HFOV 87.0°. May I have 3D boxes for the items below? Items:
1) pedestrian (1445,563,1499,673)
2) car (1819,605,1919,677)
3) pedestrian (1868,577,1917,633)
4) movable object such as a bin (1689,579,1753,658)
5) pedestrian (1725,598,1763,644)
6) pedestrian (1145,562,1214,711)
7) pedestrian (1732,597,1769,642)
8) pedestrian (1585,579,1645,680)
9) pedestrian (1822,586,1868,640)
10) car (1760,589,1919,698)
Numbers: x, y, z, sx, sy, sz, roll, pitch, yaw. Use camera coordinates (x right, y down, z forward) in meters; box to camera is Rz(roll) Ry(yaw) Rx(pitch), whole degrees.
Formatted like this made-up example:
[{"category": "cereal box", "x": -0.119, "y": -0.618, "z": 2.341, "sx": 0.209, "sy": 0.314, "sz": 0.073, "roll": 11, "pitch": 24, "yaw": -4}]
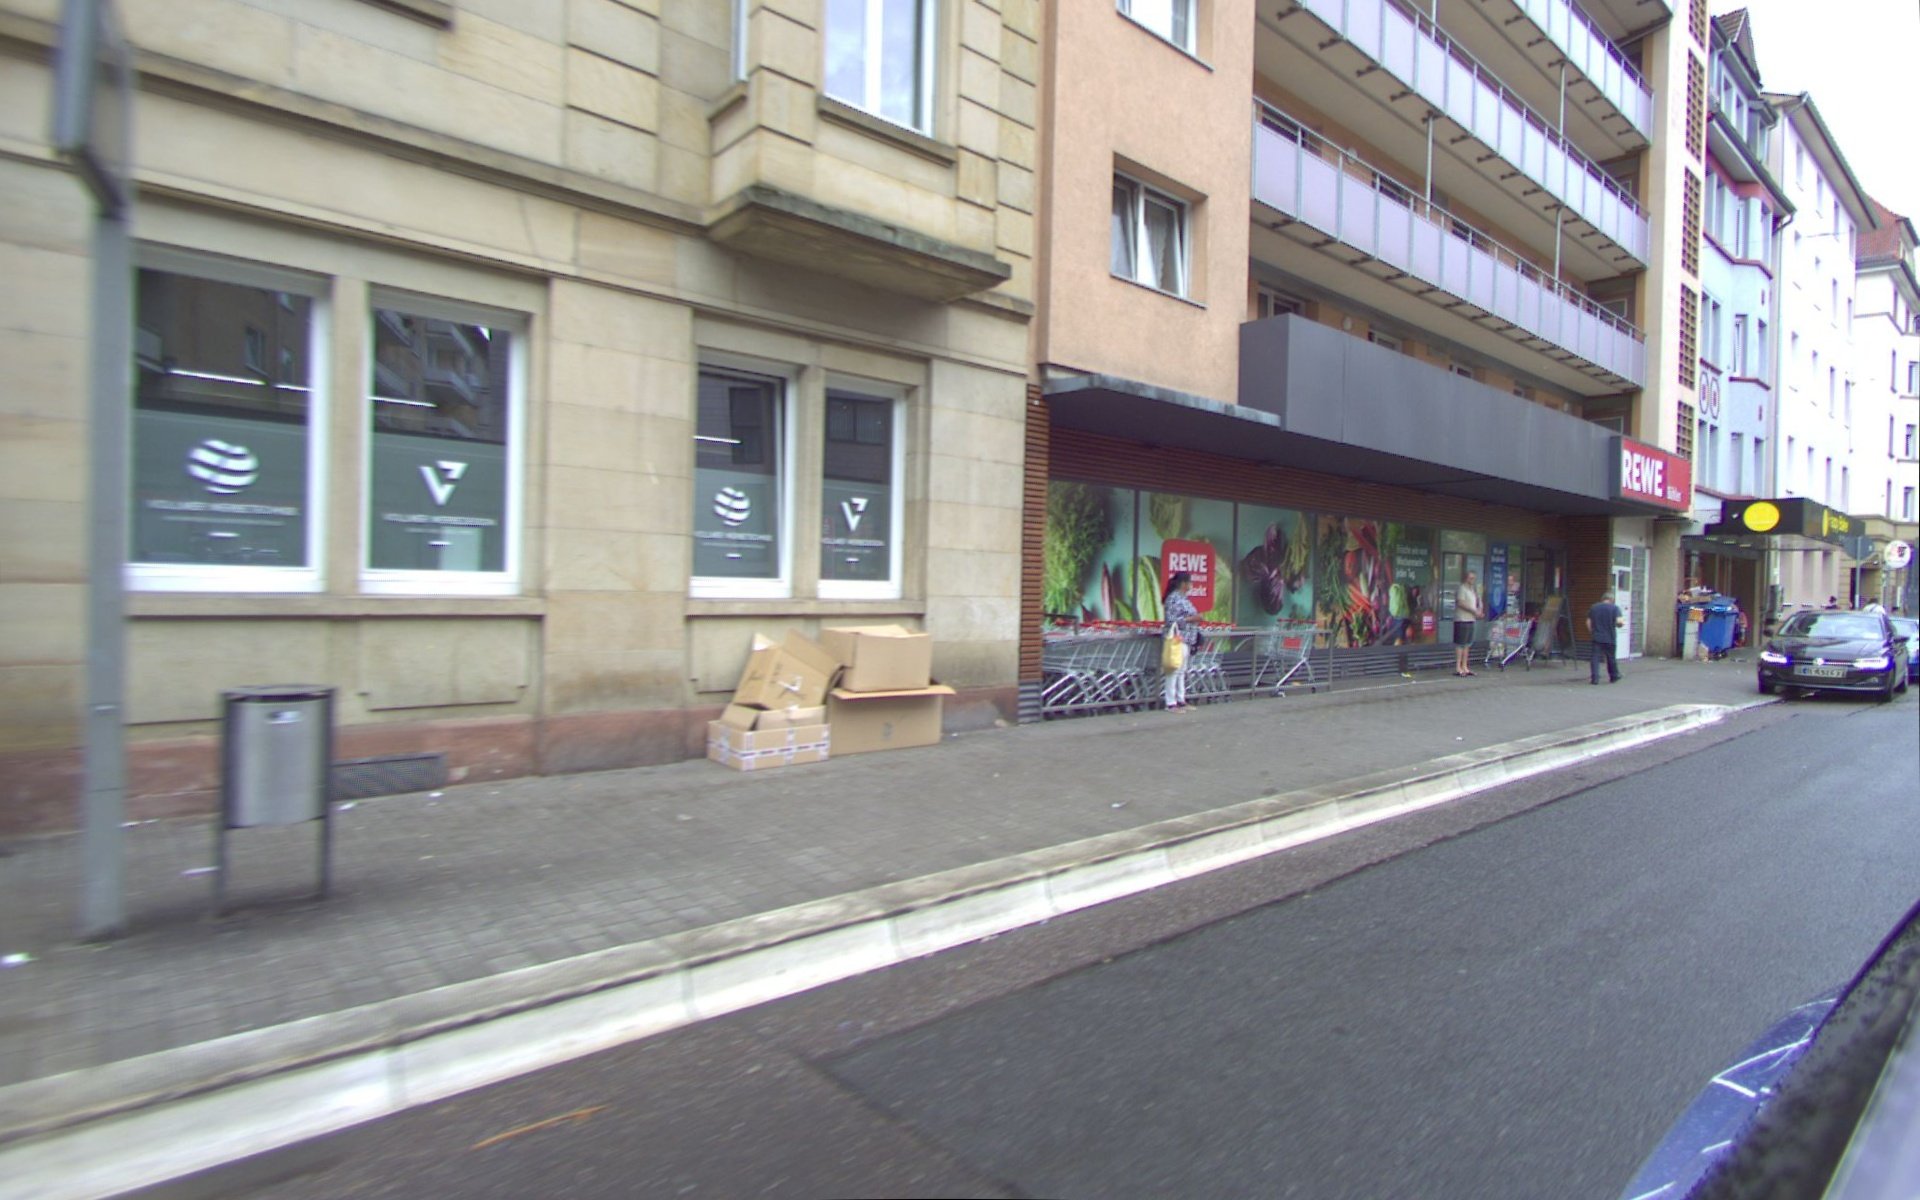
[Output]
[{"category": "pedestrian", "x": 8.987, "y": 0.292, "z": 17.778, "sx": 0.714, "sy": 1.882, "sz": 0.597, "roll": -1, "pitch": 1, "yaw": -38}, {"category": "car", "x": 19.315, "y": 0.793, "z": 20.900, "sx": 3.699, "sy": 1.327, "sz": 1.738, "roll": 0, "pitch": -1, "yaw": -39}, {"category": "pedestrian", "x": 28.936, "y": 0.151, "z": 31.414, "sx": 0.767, "sy": 1.667, "sz": 0.705, "roll": 2, "pitch": 2, "yaw": -7}, {"category": "movable object such as a bin", "x": 18.306, "y": 0.406, "z": 24.356, "sx": 1.274, "sy": 1.815, "sz": 1.000, "roll": -1, "pitch": 2, "yaw": -43}, {"category": "pedestrian", "x": 22.718, "y": 0.603, "z": 29.332, "sx": 0.645, "sy": 1.273, "sz": 0.625, "roll": 1, "pitch": 3, "yaw": -33}, {"category": "pedestrian", "x": 2.436, "y": 0.382, "z": 11.210, "sx": 0.559, "sy": 1.592, "sz": 0.620, "roll": 1, "pitch": 0, "yaw": 33}, {"category": "pedestrian", "x": 23.441, "y": 0.561, "z": 30.008, "sx": 0.647, "sy": 1.273, "sz": 0.703, "roll": 0, "pitch": 3, "yaw": -41}, {"category": "pedestrian", "x": 11.282, "y": 0.489, "z": 17.440, "sx": 0.735, "sy": 1.672, "sz": 0.627, "roll": 0, "pitch": 2, "yaw": -39}, {"category": "pedestrian", "x": 28.485, "y": 0.412, "z": 32.589, "sx": 0.767, "sy": 1.667, "sz": 0.705, "roll": 2, "pitch": 2, "yaw": -7}, {"category": "car", "x": 15.261, "y": 0.648, "z": 17.334, "sx": 3.912, "sy": 1.566, "sz": 1.733, "roll": -1, "pitch": 3, "yaw": -41}]
